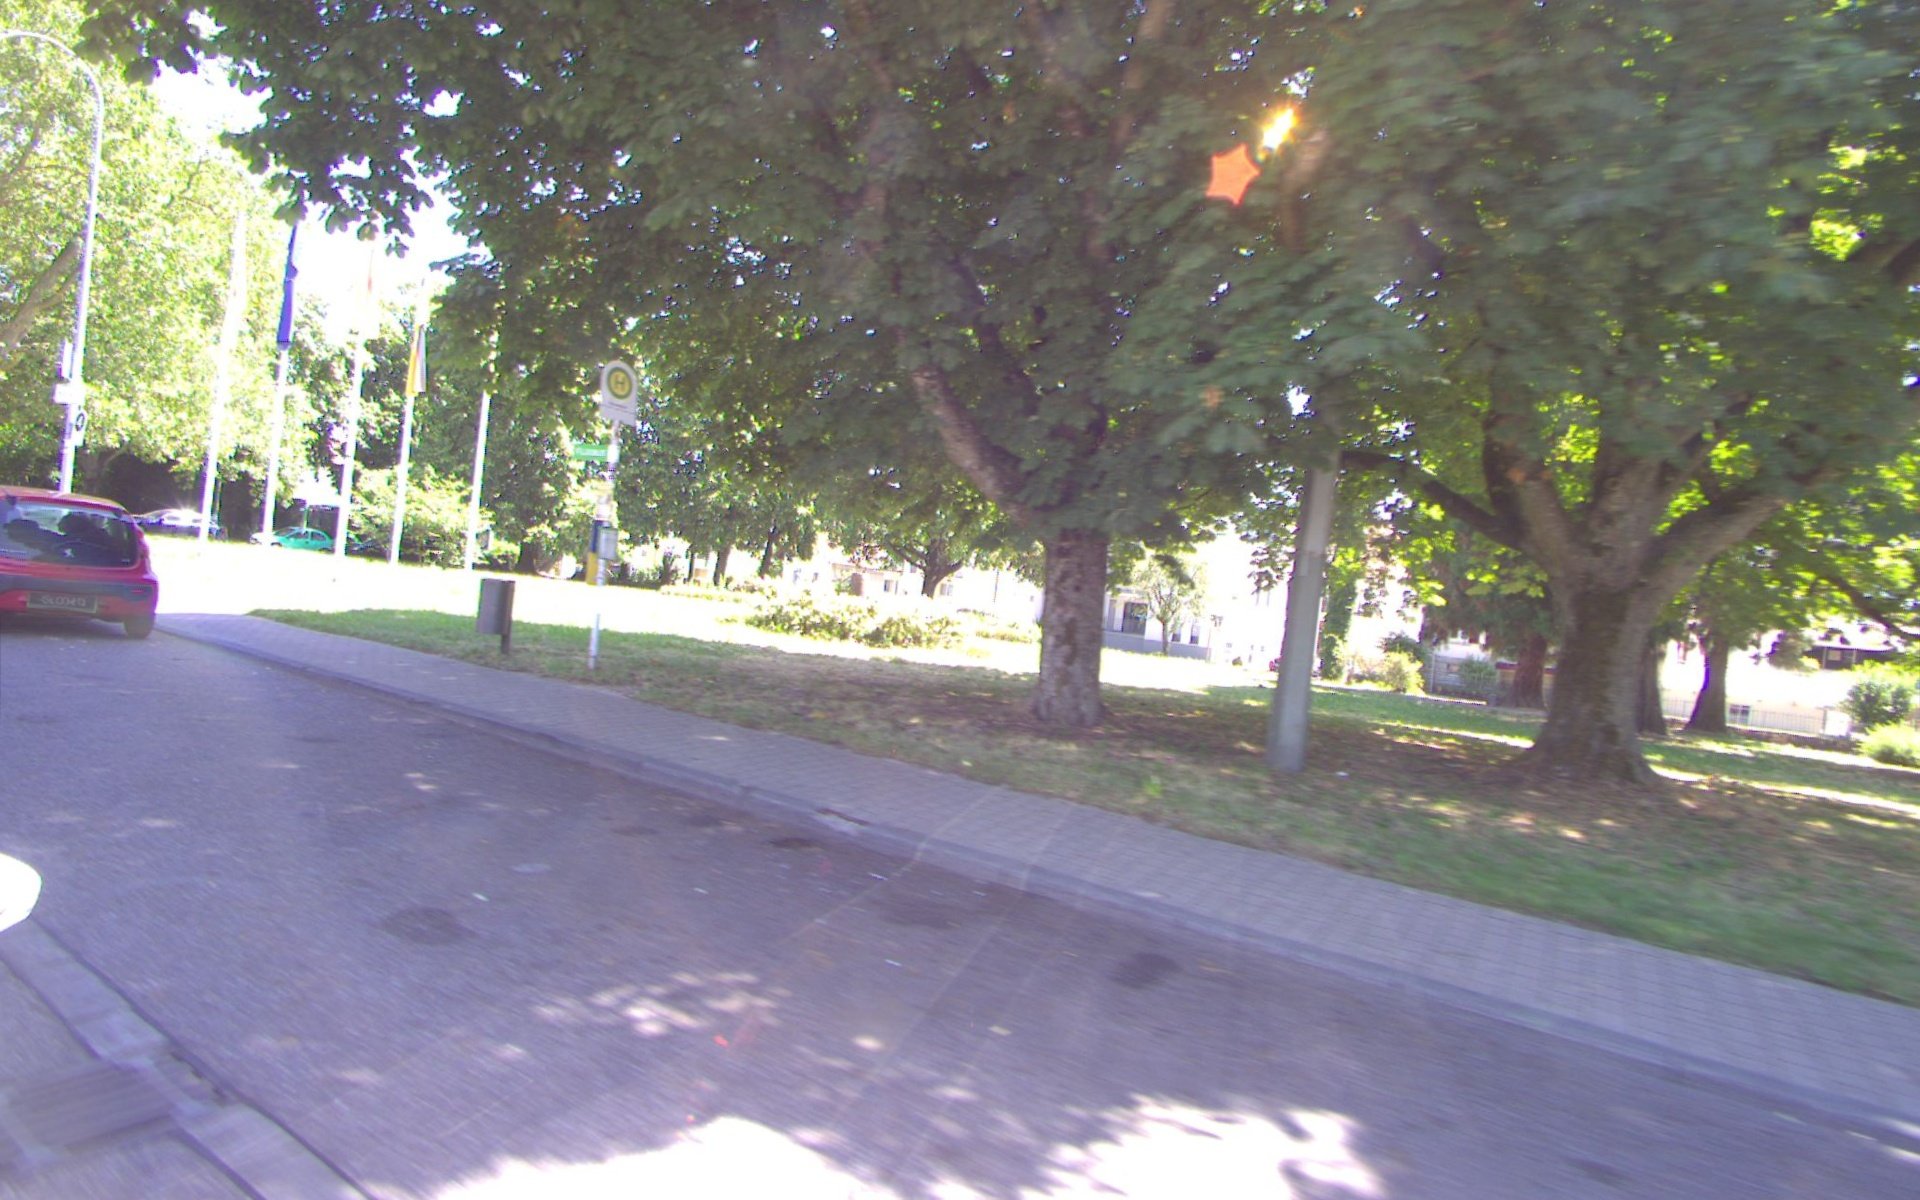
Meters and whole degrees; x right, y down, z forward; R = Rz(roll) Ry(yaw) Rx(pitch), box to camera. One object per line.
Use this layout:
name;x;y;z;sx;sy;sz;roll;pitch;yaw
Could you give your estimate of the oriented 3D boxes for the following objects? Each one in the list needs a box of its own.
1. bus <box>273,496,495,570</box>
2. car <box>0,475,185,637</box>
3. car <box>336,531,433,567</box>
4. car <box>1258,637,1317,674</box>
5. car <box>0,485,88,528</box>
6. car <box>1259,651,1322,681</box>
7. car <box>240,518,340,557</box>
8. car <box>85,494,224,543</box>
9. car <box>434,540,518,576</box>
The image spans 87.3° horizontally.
bus;-35.868;-4.053;63.500;2.231;3.014;12.390;6;-1;32
car;-10.320;-0.575;11.168;3.649;1.497;1.718;7;1;37
car;-32.912;-2.918;57.662;1.968;1.433;4.342;6;-2;33
car;20.707;3.511;63.501;3.733;1.981;1.810;6;-1;-42
car;-41.650;-4.250;44.610;1.968;1.484;4.106;7;0;35
car;19.602;3.910;59.655;3.666;1.450;1.454;6;0;-32
car;-35.620;-3.324;53.547;1.968;1.471;3.885;6;-2;33
car;-38.692;-3.899;48.447;1.969;1.627;4.824;7;0;36
car;-29.832;-2.560;62.109;1.968;1.627;4.100;6;-2;34
